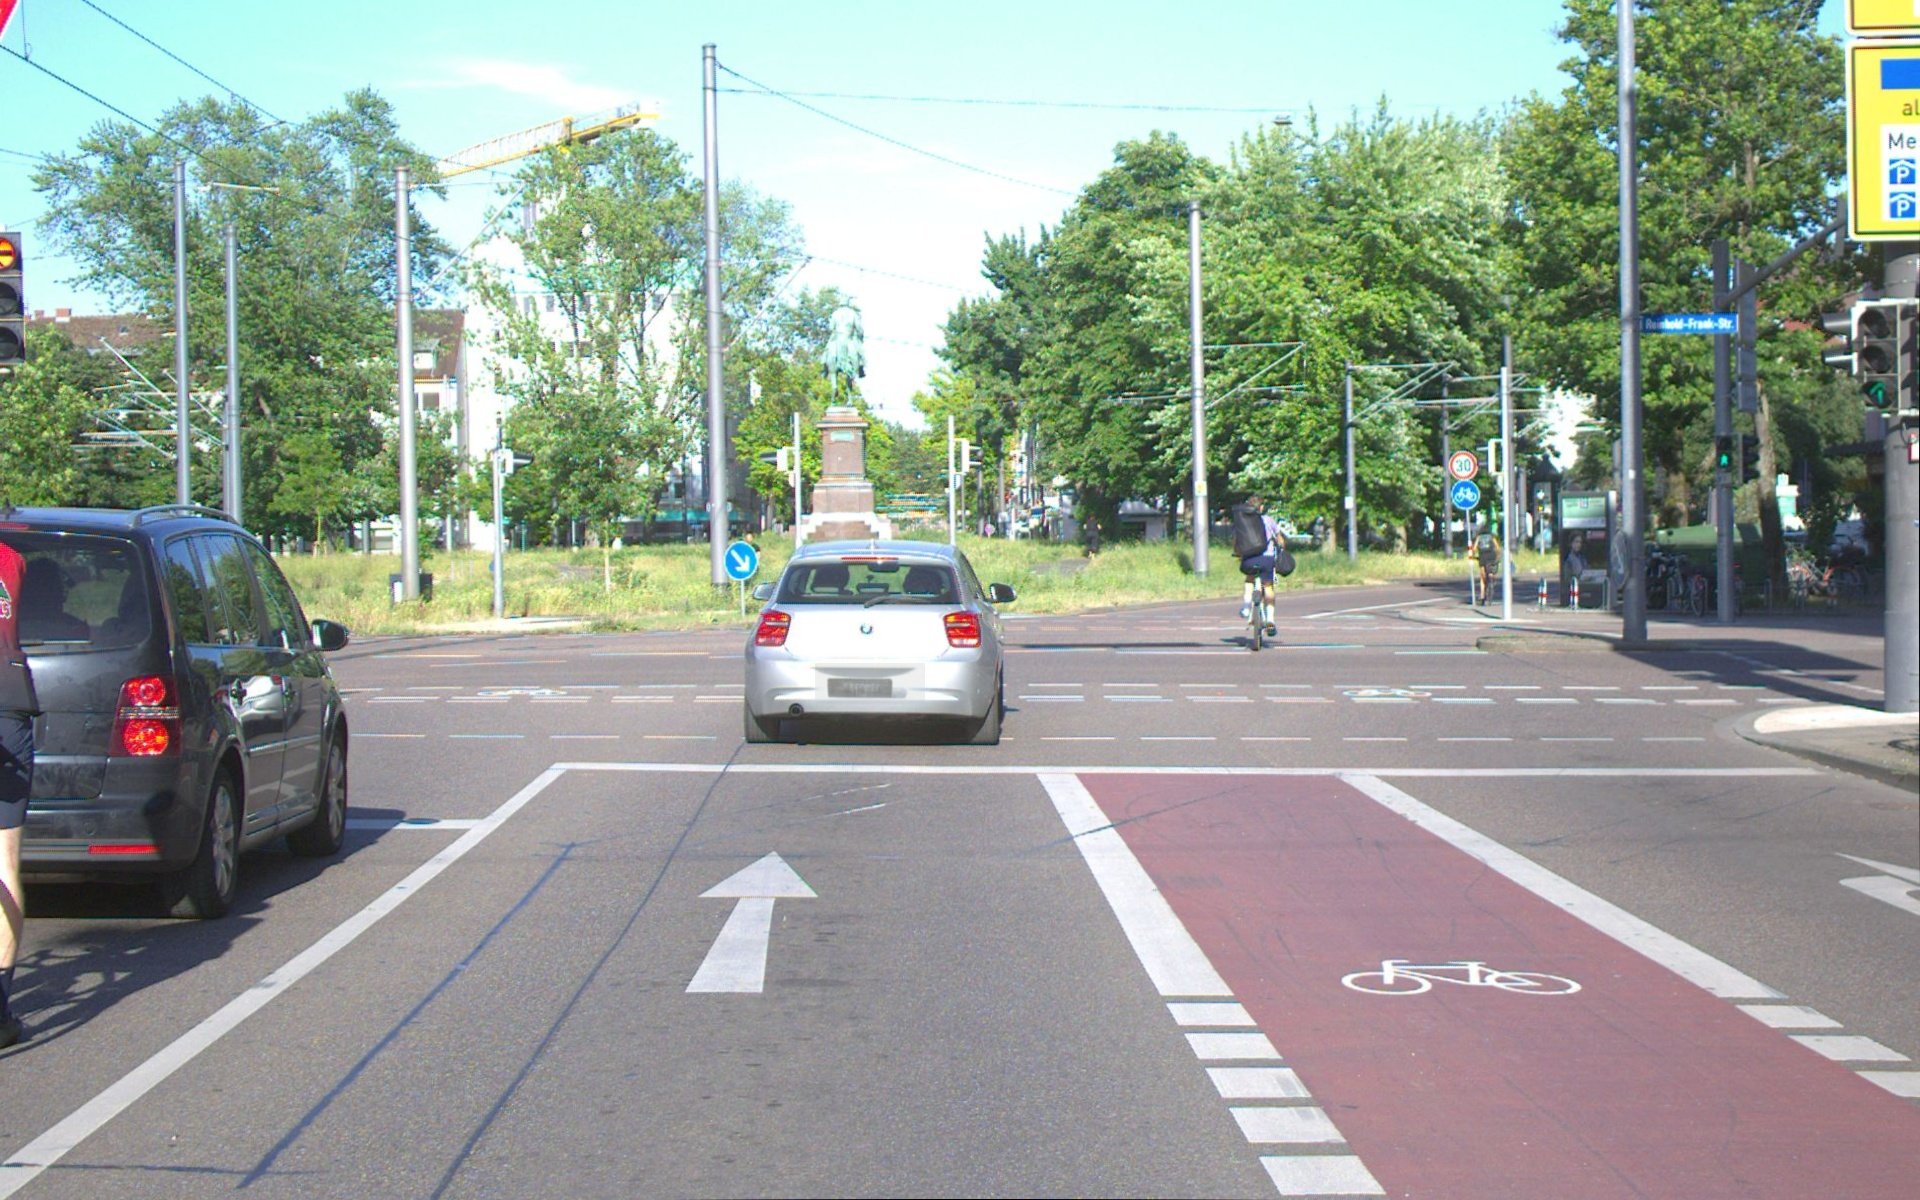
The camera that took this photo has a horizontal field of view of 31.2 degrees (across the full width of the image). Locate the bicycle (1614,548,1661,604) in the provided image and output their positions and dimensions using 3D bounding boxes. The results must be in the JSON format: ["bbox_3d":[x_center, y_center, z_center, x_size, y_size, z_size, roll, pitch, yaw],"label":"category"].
[{"bbox_3d":[12.568,-0.457,63.776,0.417,1.005,1.945,1,1,-2],"label":"bicycle"}]

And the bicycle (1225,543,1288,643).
[{"bbox_3d":[3.327,-0.098,38.694,0.499,1.085,1.997,1,1,-1],"label":"bicycle"}]

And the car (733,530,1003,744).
[{"bbox_3d":[-0.608,0.211,25.046,1.798,1.410,4.000,-1,1,0],"label":"car"}]

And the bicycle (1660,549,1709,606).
[{"bbox_3d":[13.349,-0.422,63.360,0.417,1.005,1.945,1,1,-2],"label":"bicycle"}]

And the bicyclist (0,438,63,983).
[{"bbox_3d":[-2.999,0.313,10.173,0.616,1.566,0.686,-1,1,-12],"label":"bicyclist"}]

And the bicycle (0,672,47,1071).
[{"bbox_3d":[-2.949,0.776,10.163,0.338,1.053,1.779,1,1,-11],"label":"bicycle"}]

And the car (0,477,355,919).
[{"bbox_3d":[-3.761,0.318,14.605,1.704,1.616,4.000,0,1,-1],"label":"car"}]

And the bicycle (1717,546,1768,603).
[{"bbox_3d":[14.339,-0.474,63.010,0.417,1.005,1.945,1,1,-2],"label":"bicycle"}]

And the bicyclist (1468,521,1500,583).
[{"bbox_3d":[11.832,-1.085,77.627,0.616,1.375,0.686,1,1,1],"label":"bicyclist"}]

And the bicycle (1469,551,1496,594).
[{"bbox_3d":[11.794,-0.624,77.614,0.352,0.955,1.573,1,1,1],"label":"bicycle"}]

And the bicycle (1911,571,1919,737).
[{"bbox_3d":[6.875,0.325,22.023,1.465,1.063,0.257,-2,1,2],"label":"bicycle"}]

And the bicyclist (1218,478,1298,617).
[{"bbox_3d":[3.349,-0.590,38.654,0.785,1.526,0.895,1,1,-1],"label":"bicyclist"}]

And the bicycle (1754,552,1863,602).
[{"bbox_3d":[19.210,-0.526,77.869,2.320,1.064,0.555,1,1,22],"label":"bicycle"}]

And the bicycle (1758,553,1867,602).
[{"bbox_3d":[19.453,-0.520,78.456,2.320,1.064,0.555,1,1,22],"label":"bicycle"}]

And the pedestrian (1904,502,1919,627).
[{"bbox_3d":[15.034,-0.542,53.111,0.708,1.912,0.704,1,1,3],"label":"pedestrian"}]
